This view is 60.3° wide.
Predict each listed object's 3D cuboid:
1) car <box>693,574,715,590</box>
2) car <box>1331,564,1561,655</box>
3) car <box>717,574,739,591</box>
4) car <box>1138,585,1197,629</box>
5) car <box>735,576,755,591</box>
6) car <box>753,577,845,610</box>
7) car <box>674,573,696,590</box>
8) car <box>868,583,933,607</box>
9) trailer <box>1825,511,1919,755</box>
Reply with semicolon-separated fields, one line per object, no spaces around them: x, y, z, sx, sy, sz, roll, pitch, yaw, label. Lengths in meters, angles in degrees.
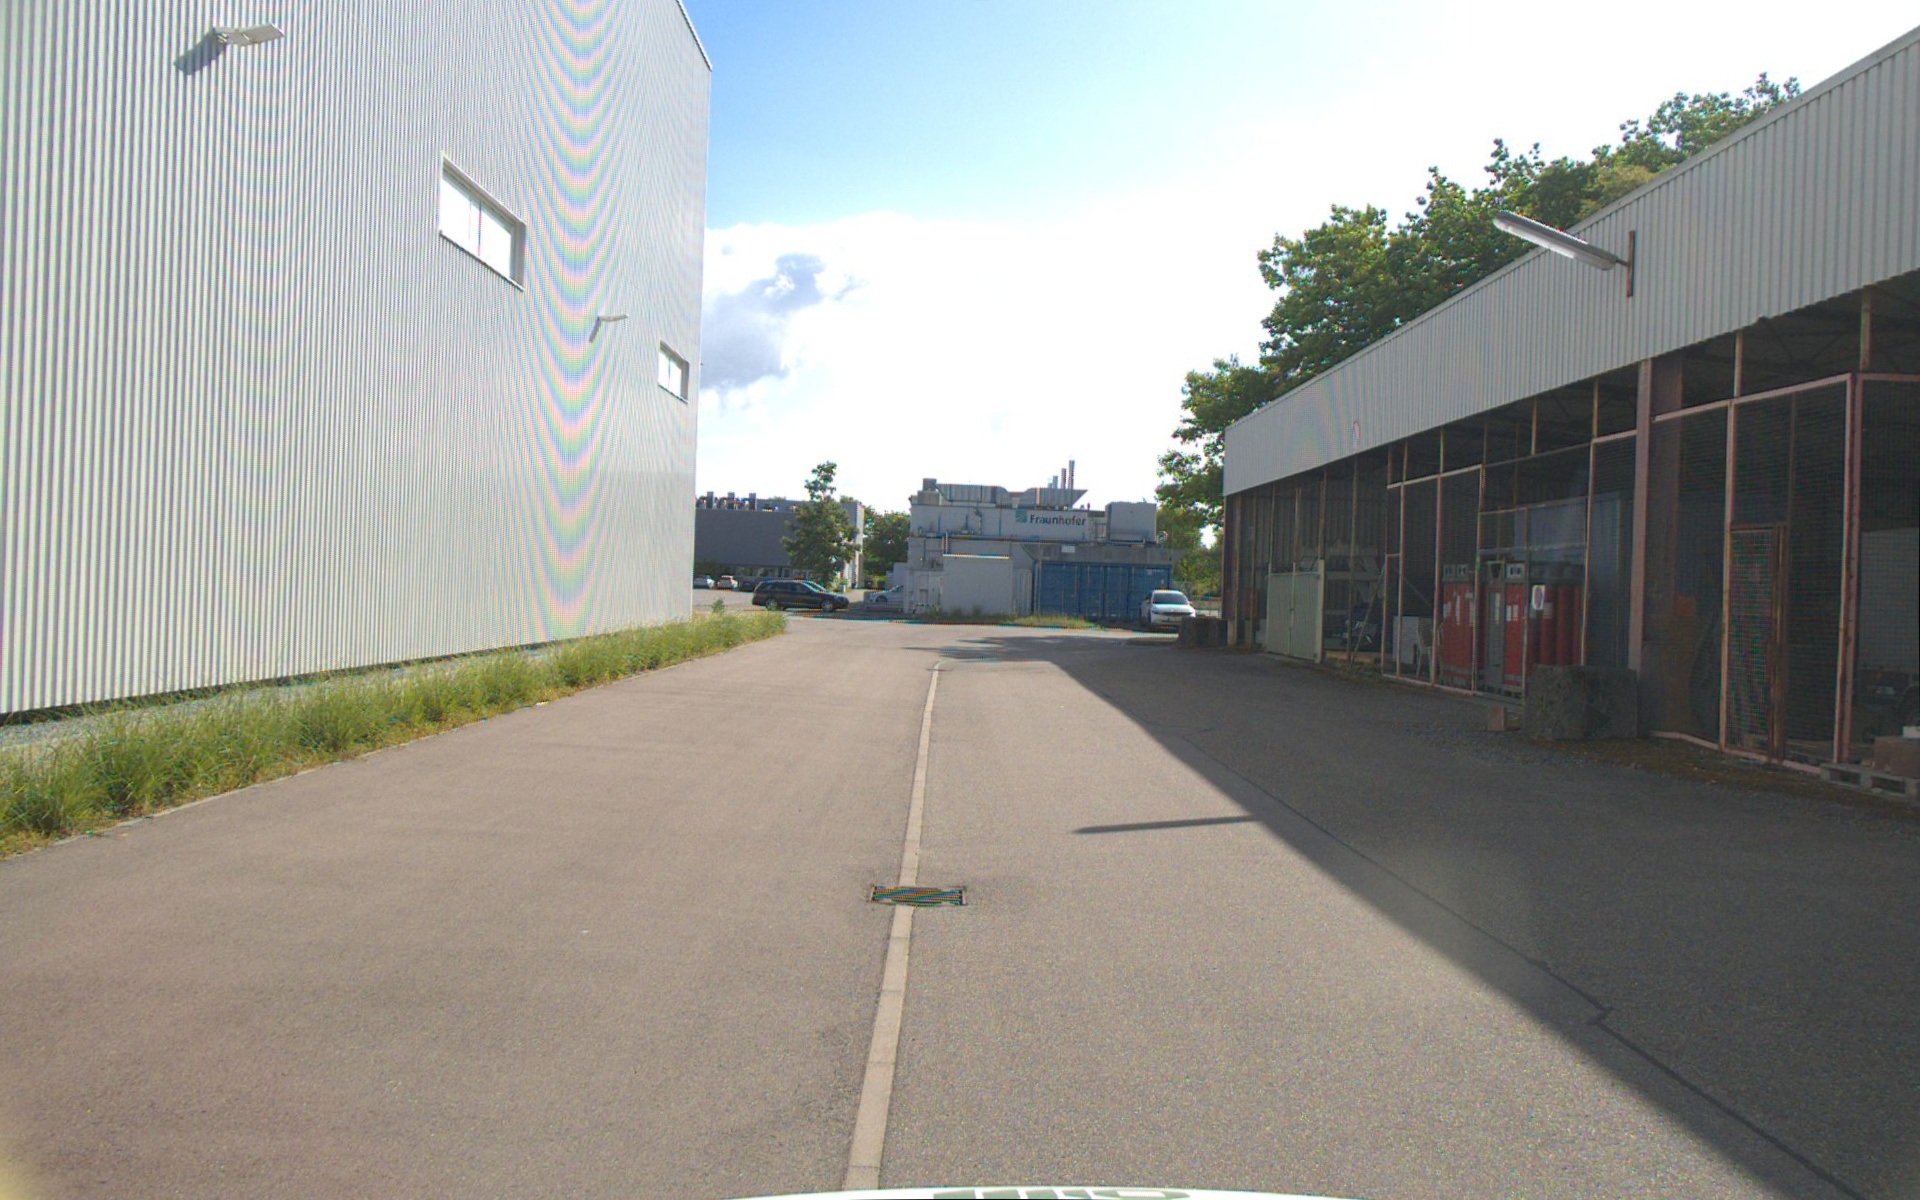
-27.461;-1.894;177.414;1.937;1.707;3.998;0;0;-2;car
11.168;0.220;38.168;4.680;1.949;1.996;1;0;-9;car
-24.922;-1.900;177.869;1.926;1.742;4.028;0;0;-2;car
8.570;0.259;68.600;1.939;1.630;4.378;0;2;1;car
-22.880;-1.778;176.056;1.821;1.521;4.028;0;0;-2;car
-7.848;-0.311;80.882;4.357;1.558;1.824;1;0;-1;car
-29.545;-1.950;177.779;1.762;1.742;4.046;0;0;-2;car
-3.906;-0.317;108.819;4.215;1.483;1.824;1;0;-1;car
9.543;0.299;14.987;1.881;2.181;2.803;0;0;-2;trailer
